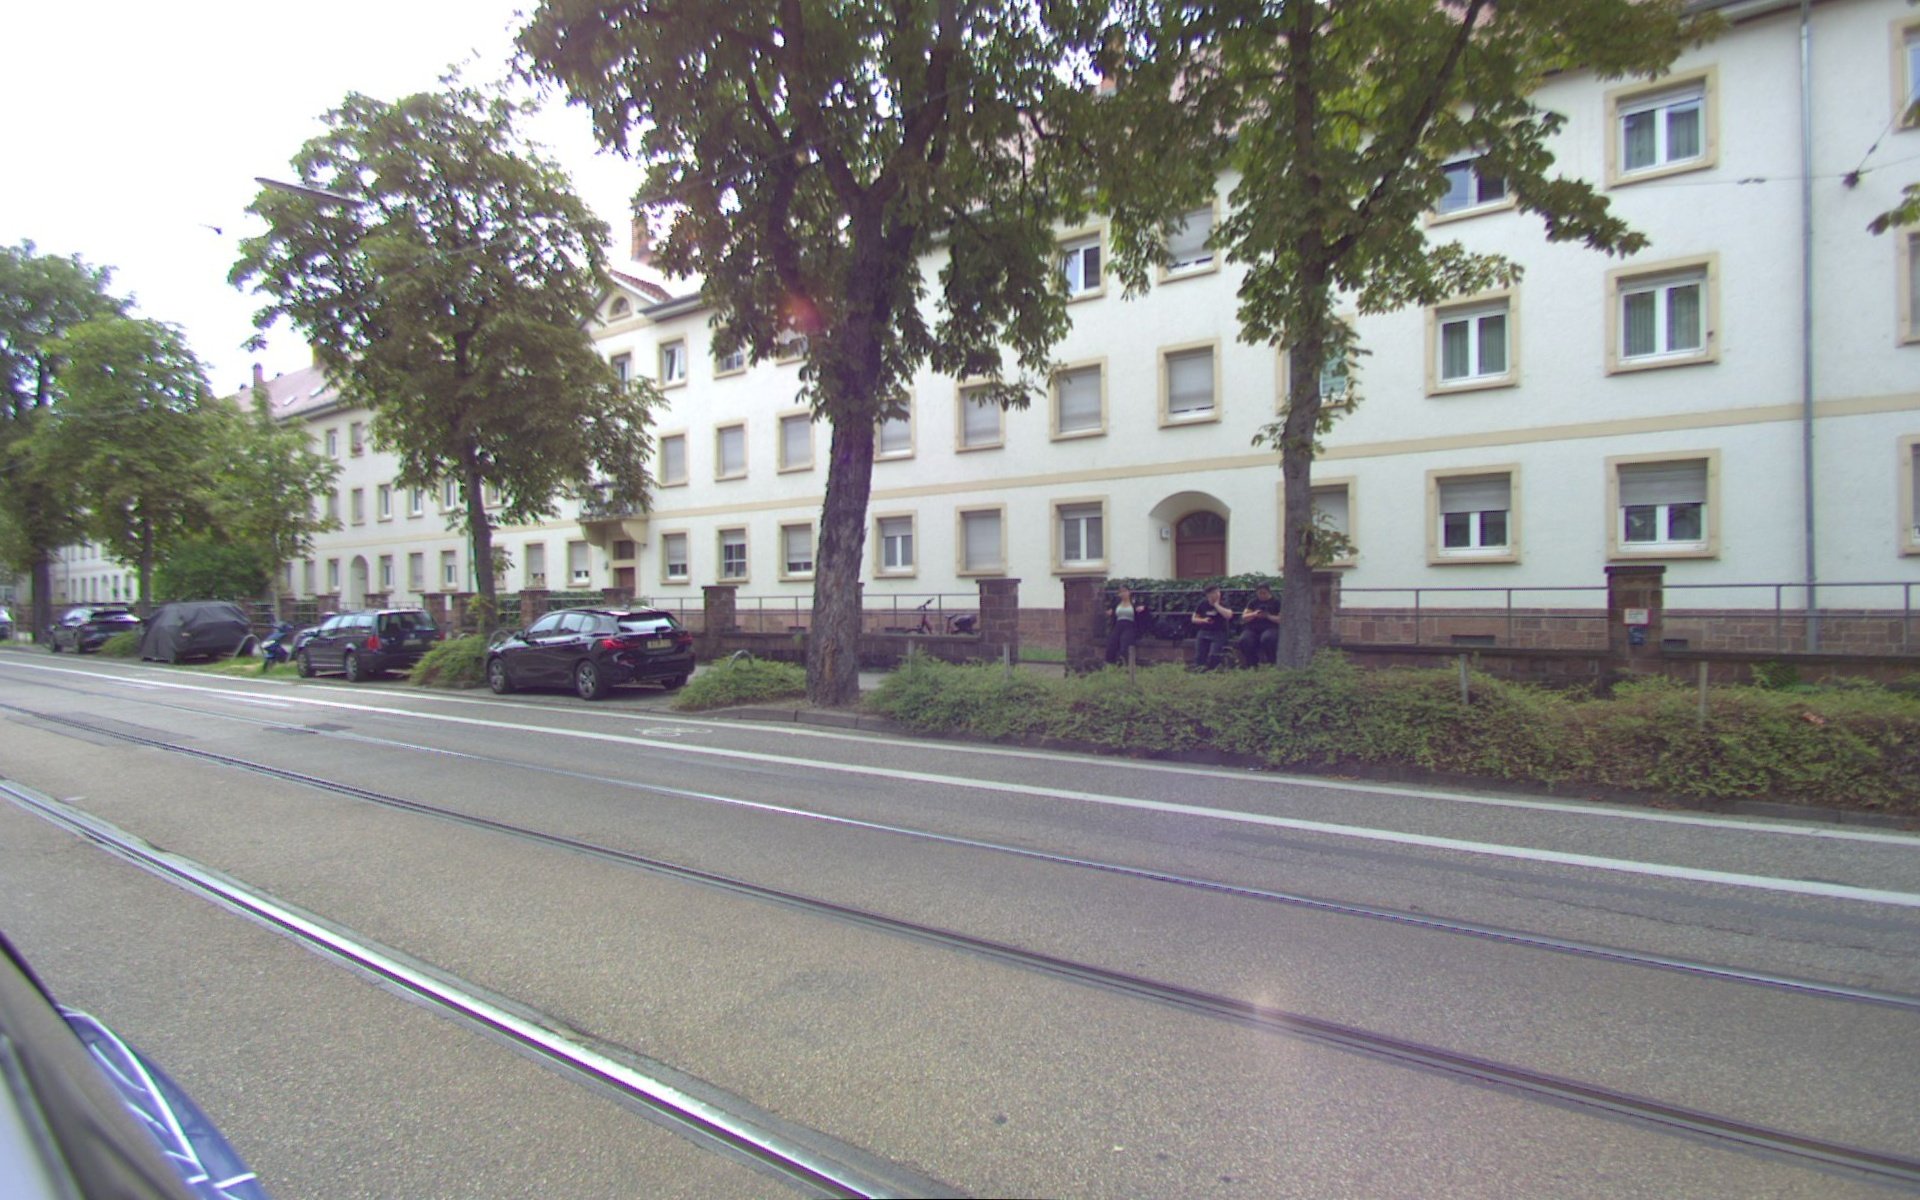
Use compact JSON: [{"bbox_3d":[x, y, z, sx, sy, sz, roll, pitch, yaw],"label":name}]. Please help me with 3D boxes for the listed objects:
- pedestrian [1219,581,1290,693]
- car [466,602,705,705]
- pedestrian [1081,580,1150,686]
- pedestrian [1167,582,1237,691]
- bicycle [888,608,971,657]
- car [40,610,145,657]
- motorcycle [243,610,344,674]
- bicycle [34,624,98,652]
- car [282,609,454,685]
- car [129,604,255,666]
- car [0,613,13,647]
[{"bbox_3d":[4.054,0.491,13.903,0.730,1.476,0.826,-1,0,32],"label":"pedestrian"},{"bbox_3d":[-6.368,0.817,17.009,4.293,1.434,1.681,-1,3,37],"label":"car"},{"bbox_3d":[2.323,0.478,15.083,0.730,1.524,0.826,-1,0,32],"label":"pedestrian"},{"bbox_3d":[3.424,0.501,14.300,0.730,1.476,0.826,-1,0,32],"label":"pedestrian"},{"bbox_3d":[-0.572,0.587,18.532,1.547,0.869,0.504,-1,-1,38],"label":"bicycle"},{"bbox_3d":[-29.382,1.100,34.249,4.290,1.481,1.682,-1,0,35],"label":"car"},{"bbox_3d":[-15.910,0.976,24.216,0.590,1.269,1.852,-1,5,33],"label":"motorcycle"},{"bbox_3d":[-32.932,1.400,37.311,0.670,0.978,1.656,-1,0,28],"label":"bicycle"},{"bbox_3d":[-12.816,0.952,21.812,4.293,1.434,1.681,-1,1,37],"label":"car"},{"bbox_3d":[-21.860,0.952,28.764,4.293,1.624,1.769,-1,0,37],"label":"car"},{"bbox_3d":[-44.664,1.365,45.901,4.290,1.481,1.682,-1,0,35],"label":"car"}]
